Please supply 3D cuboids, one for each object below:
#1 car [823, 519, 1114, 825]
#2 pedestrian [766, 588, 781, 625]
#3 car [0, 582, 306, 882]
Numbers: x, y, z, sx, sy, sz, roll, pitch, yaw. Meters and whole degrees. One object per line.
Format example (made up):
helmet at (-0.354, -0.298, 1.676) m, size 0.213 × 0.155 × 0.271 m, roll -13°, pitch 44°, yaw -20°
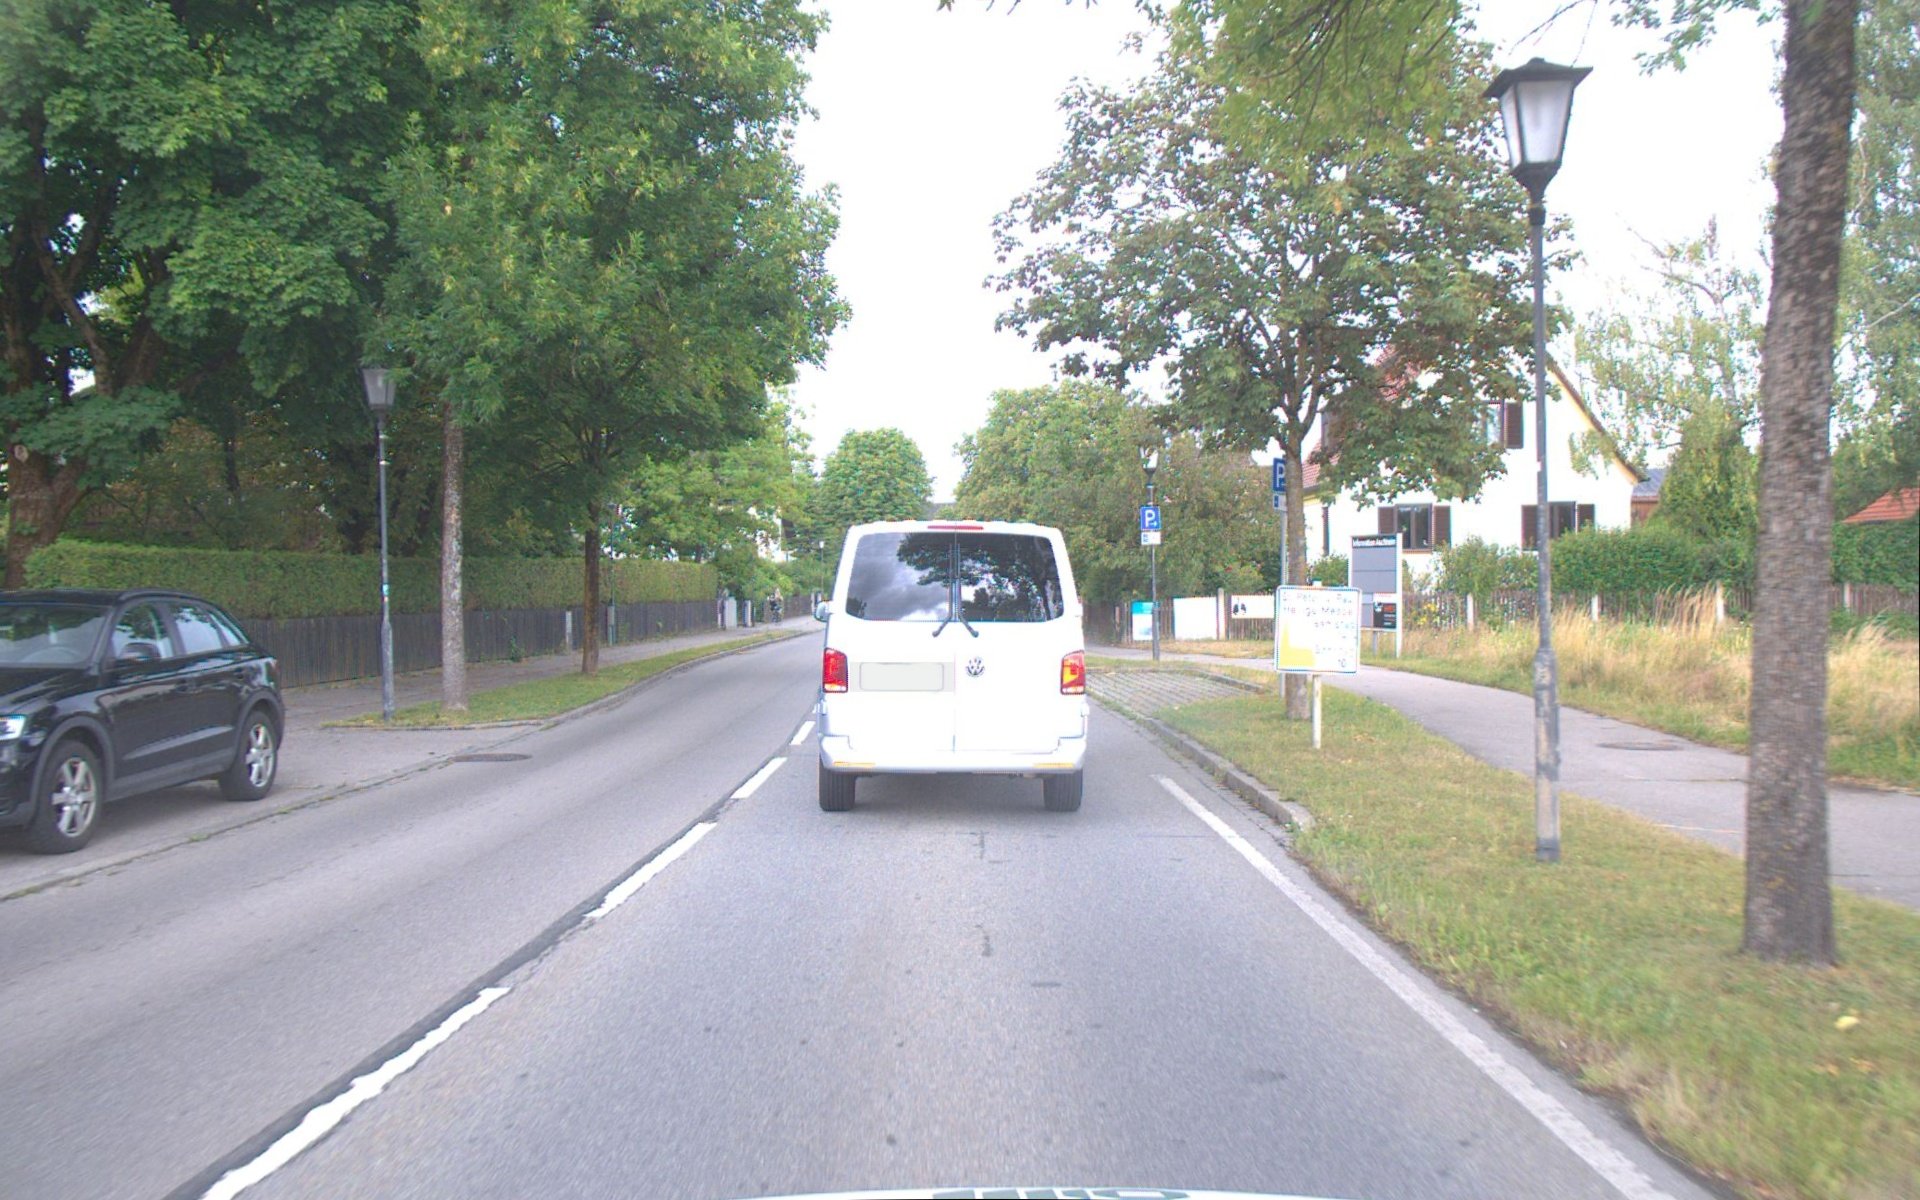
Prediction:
car at (0.056, 0.453, 12.536) m, size 1.849 × 1.945 × 4.000 m, roll 0°, pitch 0°, yaw 0°
pedestrian at (-8.030, 0.269, 71.264) m, size 0.610 × 1.576 × 0.522 m, roll 1°, pitch 0°, yaw -4°
car at (-6.133, 0.706, 11.133) m, size 1.735 × 1.626 × 4.238 m, roll 0°, pitch 1°, yaw 1°
